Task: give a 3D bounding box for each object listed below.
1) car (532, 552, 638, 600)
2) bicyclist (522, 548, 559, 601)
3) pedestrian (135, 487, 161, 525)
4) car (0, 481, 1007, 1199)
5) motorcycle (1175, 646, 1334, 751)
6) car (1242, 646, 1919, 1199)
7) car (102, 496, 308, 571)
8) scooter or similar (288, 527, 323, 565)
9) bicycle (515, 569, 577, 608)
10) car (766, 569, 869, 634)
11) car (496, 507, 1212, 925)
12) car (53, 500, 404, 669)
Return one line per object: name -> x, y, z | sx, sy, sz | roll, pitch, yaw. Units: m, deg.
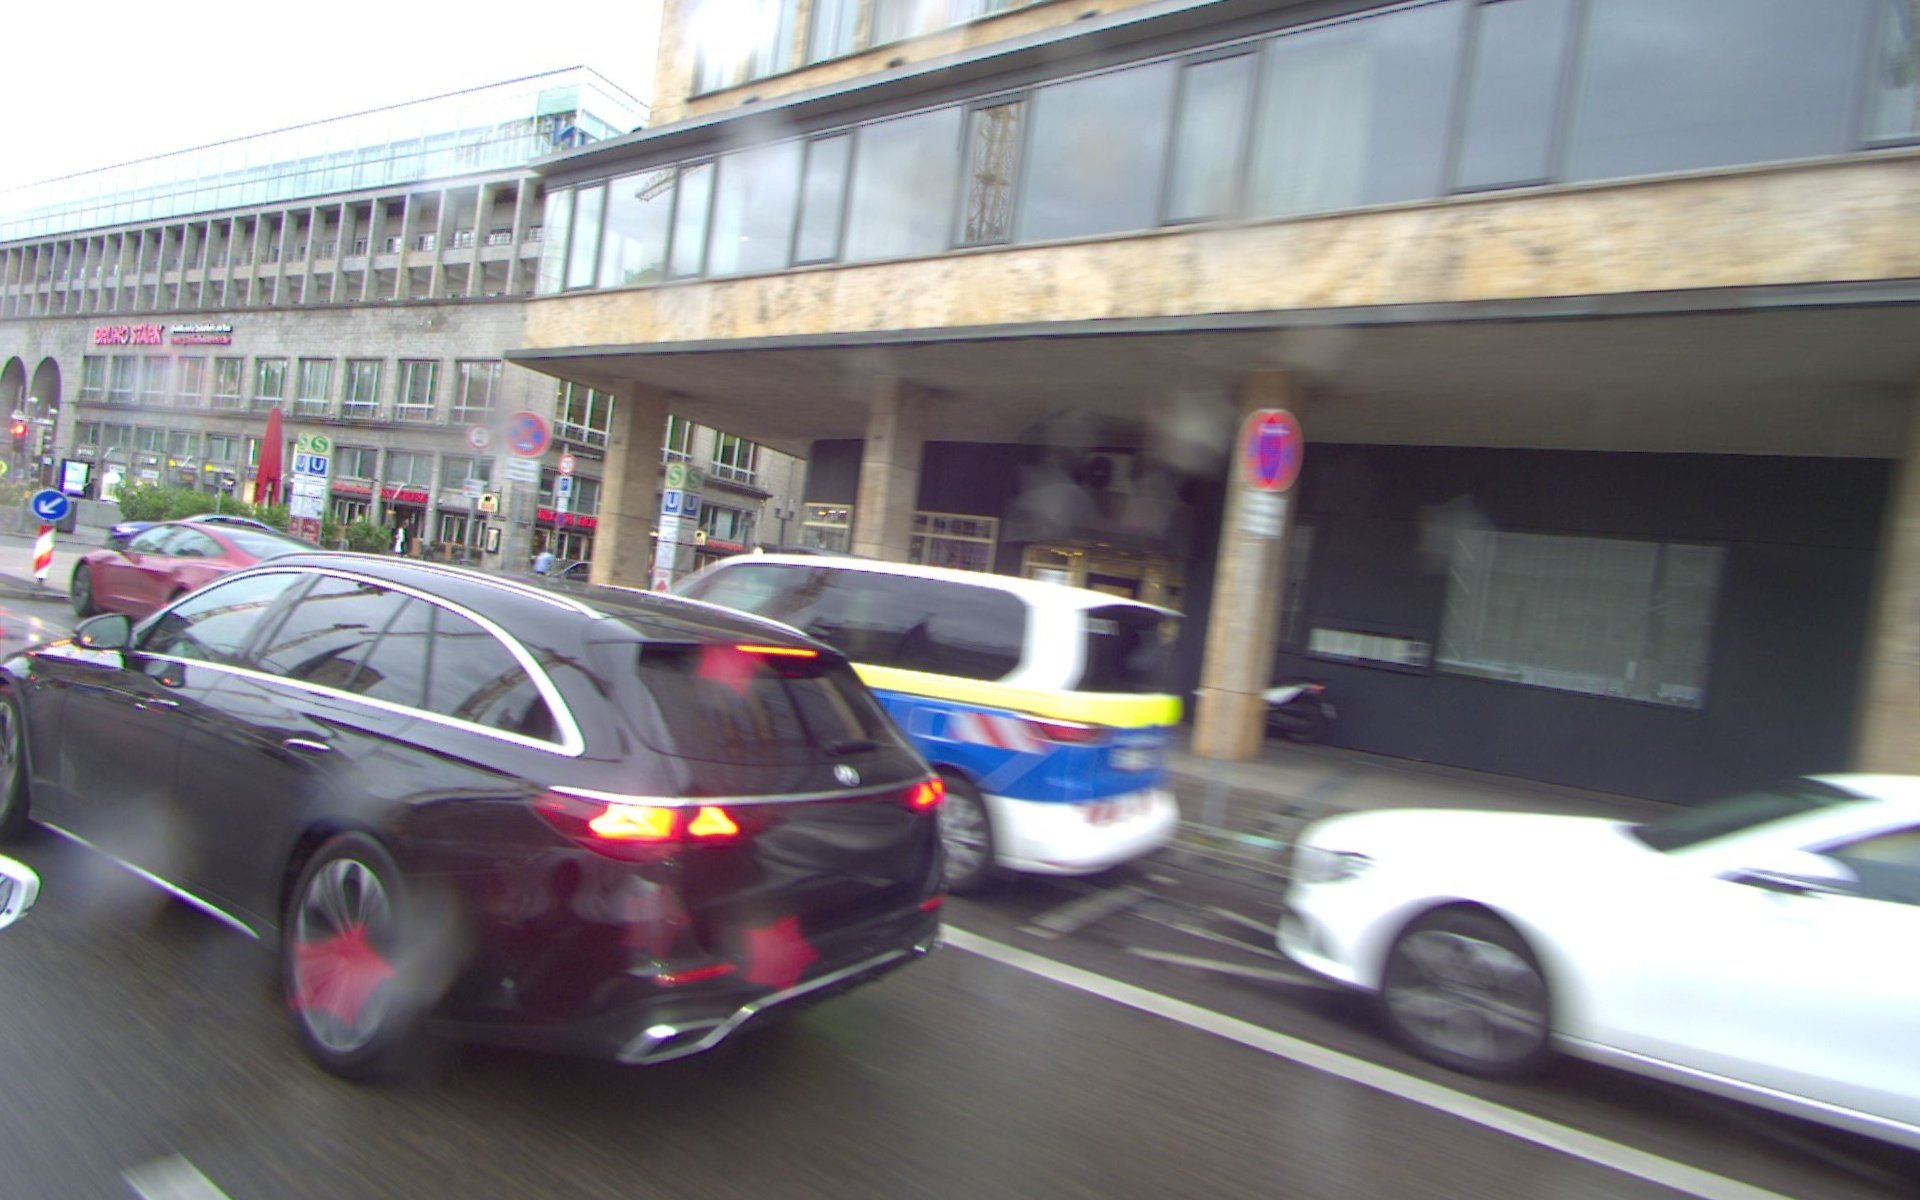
car -> -15.594, -0.967, 41.997 | 1.822, 1.414, 3.659 | 7, -2, 35
bicyclist -> -13.306, -0.803, 31.934 | 0.601, 1.558, 0.719 | 7, -1, 13
pedestrian -> -46.737, -5.418, 57.902 | 0.811, 2.037, 0.764 | 7, -1, 32
car -> -2.297, 0.501, 4.202 | 4.552, 1.519, 1.797 | 7, -2, 32
motorcycle -> 4.316, 1.431, 14.872 | 2.074, 1.232, 0.567 | 6, -1, 40
car -> 3.930, 1.364, 4.046 | 4.928, 1.656, 1.878 | 7, -2, 32
car -> -22.482, -1.951, 30.088 | 1.736, 1.414, 4.626 | 6, -2, 44
scooter or similar -> -23.229, -1.911, 35.703 | 1.000, 1.203, 0.291 | 7, -1, 13
bicycle -> -13.261, -0.357, 32.305 | 0.581, 1.021, 2.217 | 7, -2, 12
car -> -7.788, 0.162, 55.758 | 1.966, 2.793, 6.182 | 7, -2, 30
car -> -0.934, 0.579, 7.307 | 4.853, 1.942, 1.878 | 7, -2, 32
car -> -9.200, -0.223, 12.561 | 4.451, 1.503, 1.878 | 7, -2, 32
